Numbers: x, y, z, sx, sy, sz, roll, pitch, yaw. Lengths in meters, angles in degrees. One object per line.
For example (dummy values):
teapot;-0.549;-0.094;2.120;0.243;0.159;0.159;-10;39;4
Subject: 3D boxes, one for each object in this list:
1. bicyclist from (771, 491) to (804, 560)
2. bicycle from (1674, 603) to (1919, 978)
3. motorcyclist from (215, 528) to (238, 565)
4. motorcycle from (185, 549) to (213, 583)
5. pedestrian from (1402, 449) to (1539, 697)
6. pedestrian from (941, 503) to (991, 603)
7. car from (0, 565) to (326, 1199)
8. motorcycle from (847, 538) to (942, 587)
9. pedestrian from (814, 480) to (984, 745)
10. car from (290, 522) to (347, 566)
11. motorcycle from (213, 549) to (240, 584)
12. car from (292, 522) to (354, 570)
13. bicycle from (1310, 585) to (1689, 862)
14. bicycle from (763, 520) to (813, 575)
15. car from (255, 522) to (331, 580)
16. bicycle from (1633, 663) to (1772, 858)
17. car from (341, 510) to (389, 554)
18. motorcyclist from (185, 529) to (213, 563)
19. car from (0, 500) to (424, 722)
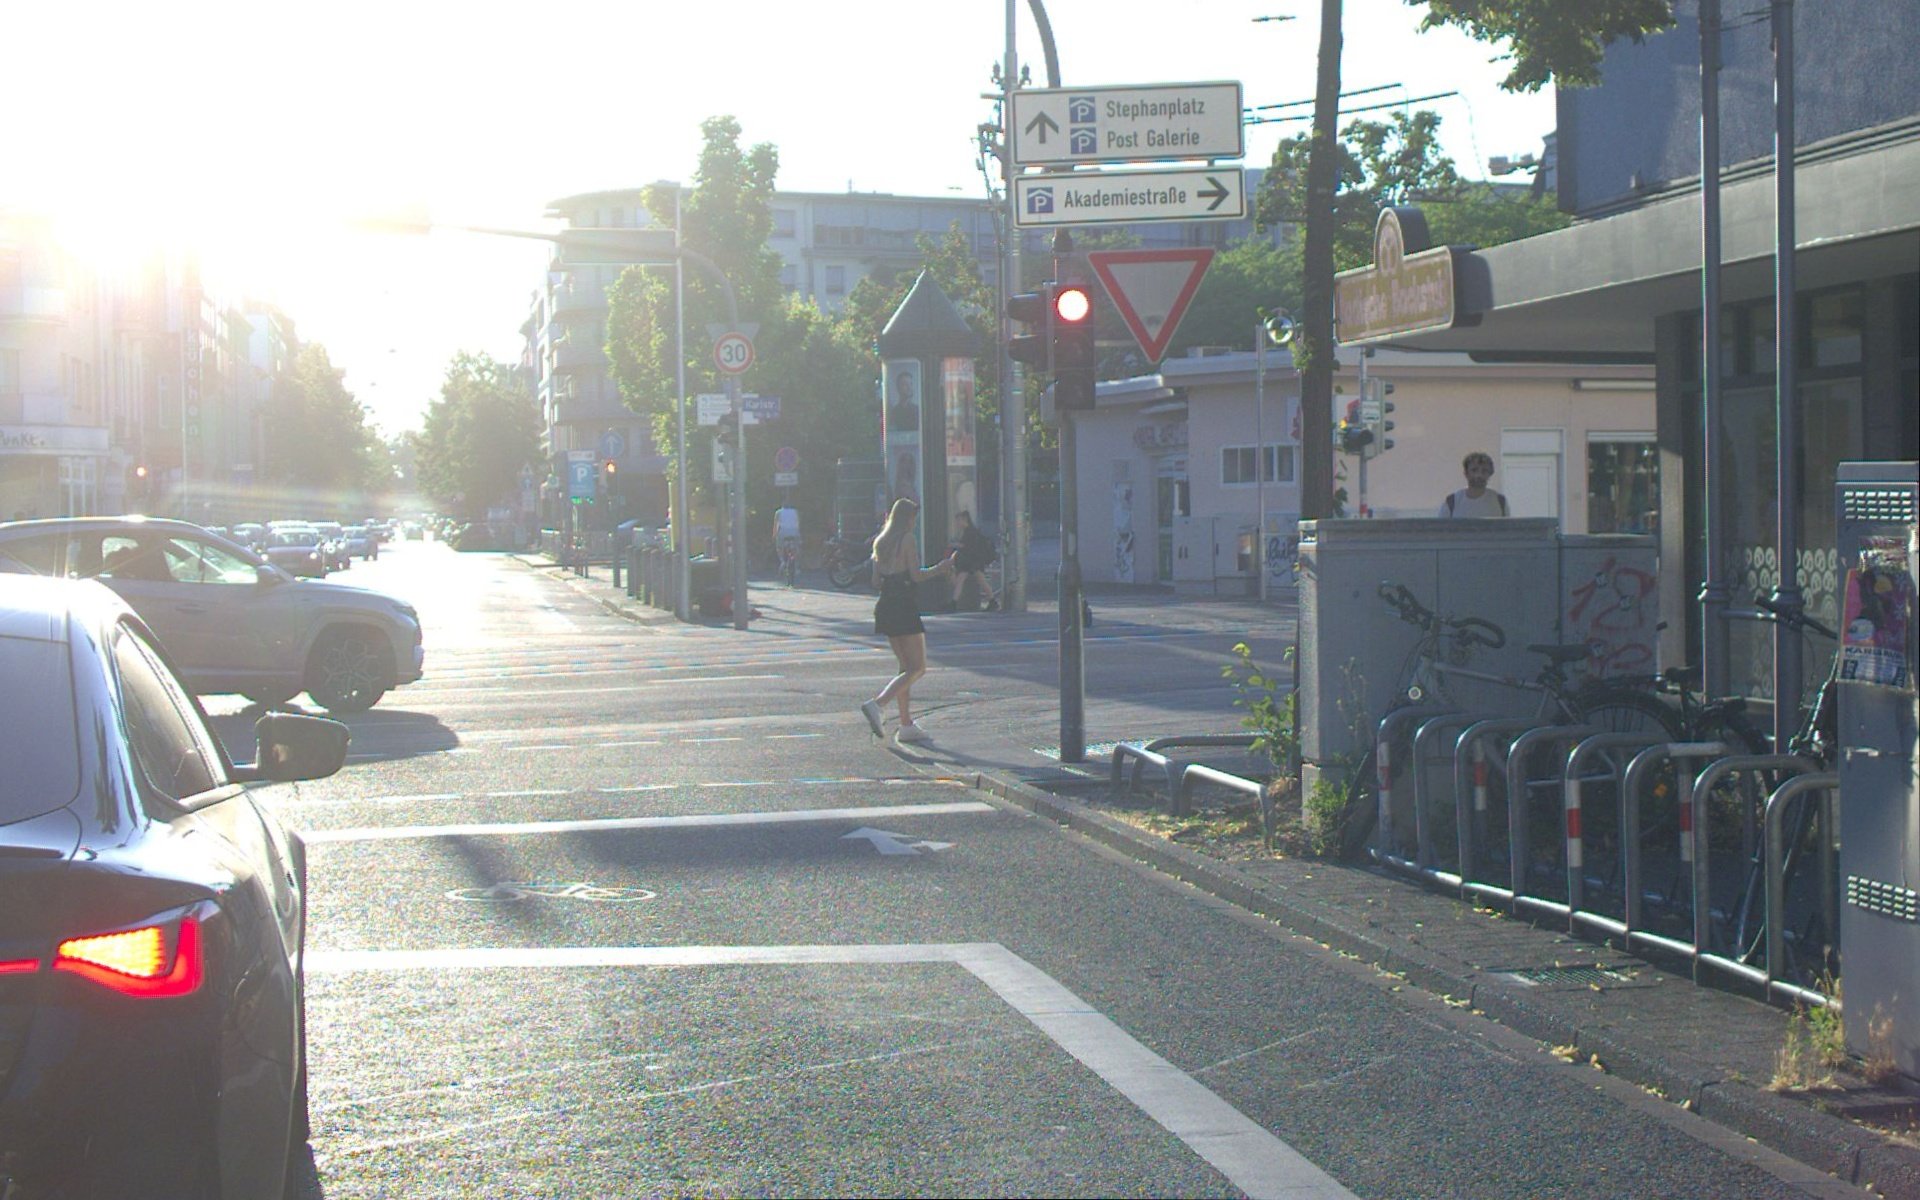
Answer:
bicyclist;-3.698;-1.590;73.770;0.550;1.476;0.723;0;0;-17
bicycle;3.155;0.631;11.478;1.440;1.216;0.383;1;1;-7
motorcyclist;-19.982;-1.453;93.653;0.575;0.992;0.703;1;1;-8
motorcycle;-20.840;-0.944;94.151;0.575;0.912;2.201;1;1;-8
pedestrian;3.860;-0.208;26.026;0.835;1.835;0.679;-1;1;-8
pedestrian;0.094;-0.725;53.098;0.732;1.524;0.472;1;1;-2
car;-2.113;0.670;6.496;1.736;1.424;4.225;0;1;-10
motorcycle;-1.289;-0.745;67.843;1.668;0.935;0.856;-1;2;-19
pedestrian;-0.443;0.074;24.852;1.001;1.854;0.640;-2;2;-28
car;-22.985;-2.008;123.286;1.817;1.514;4.001;-1;2;-8
motorcycle;-20.010;-0.926;93.761;0.575;0.912;2.201;1;1;-8
car;-20.926;-1.780;113.004;1.817;1.514;4.001;-1;2;-8
bicycle;2.376;0.536;15.156;1.612;1.167;0.318;-1;1;-6
bicycle;-3.696;-1.117;73.762;0.550;1.155;2.145;0;1;-17
car;-18.343;-1.367;94.652;1.817;1.514;4.001;-1;2;-8
bicycle;3.308;0.702;15.365;0.249;0.793;1.116;1;1;-7
car;-25.435;-2.914;147.026;1.771;1.842;4.001;-1;2;-7
motorcyclist;-20.832;-1.473;94.129;0.575;0.912;2.201;1;1;-8
car;-6.788;0.043;28.427;4.278;1.701;1.805;-2;2;-34
